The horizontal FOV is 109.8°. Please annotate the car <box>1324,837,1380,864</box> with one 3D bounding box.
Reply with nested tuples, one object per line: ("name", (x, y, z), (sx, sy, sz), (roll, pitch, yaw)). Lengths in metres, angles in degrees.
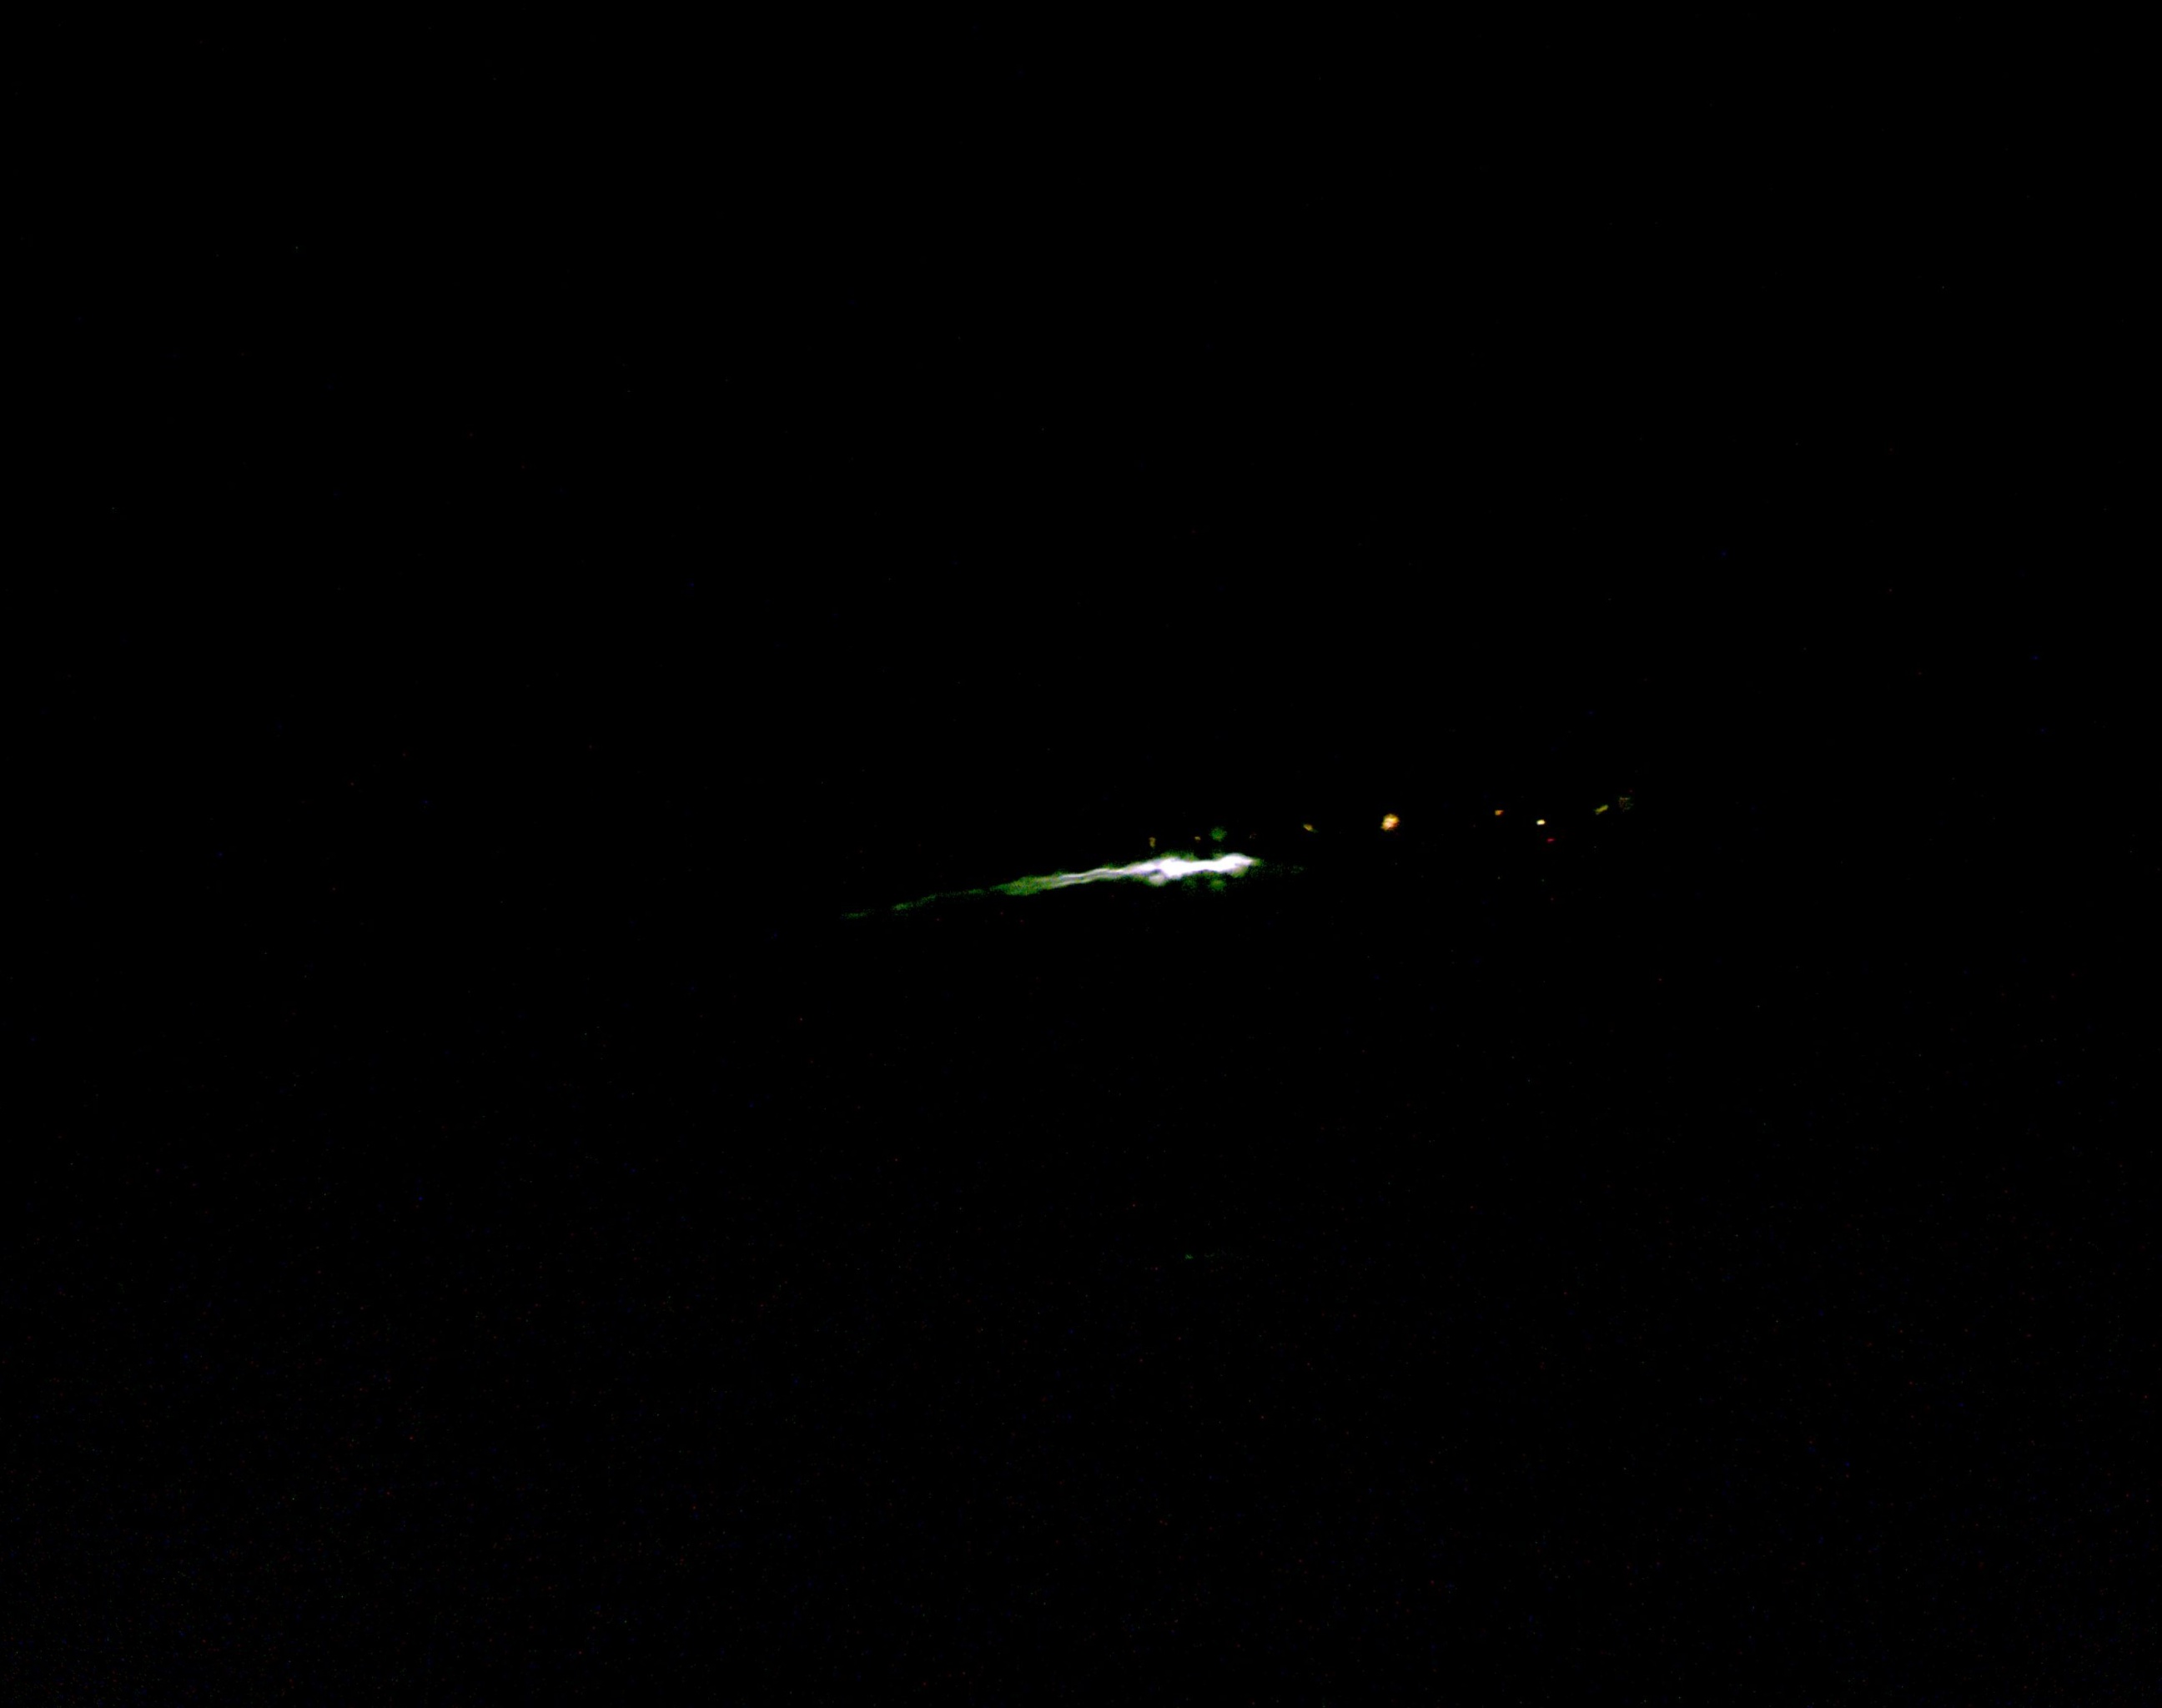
("car", (18.874, -0.279, 52.802), (4.108, 1.737, 1.995), (-2, -1, -43))
